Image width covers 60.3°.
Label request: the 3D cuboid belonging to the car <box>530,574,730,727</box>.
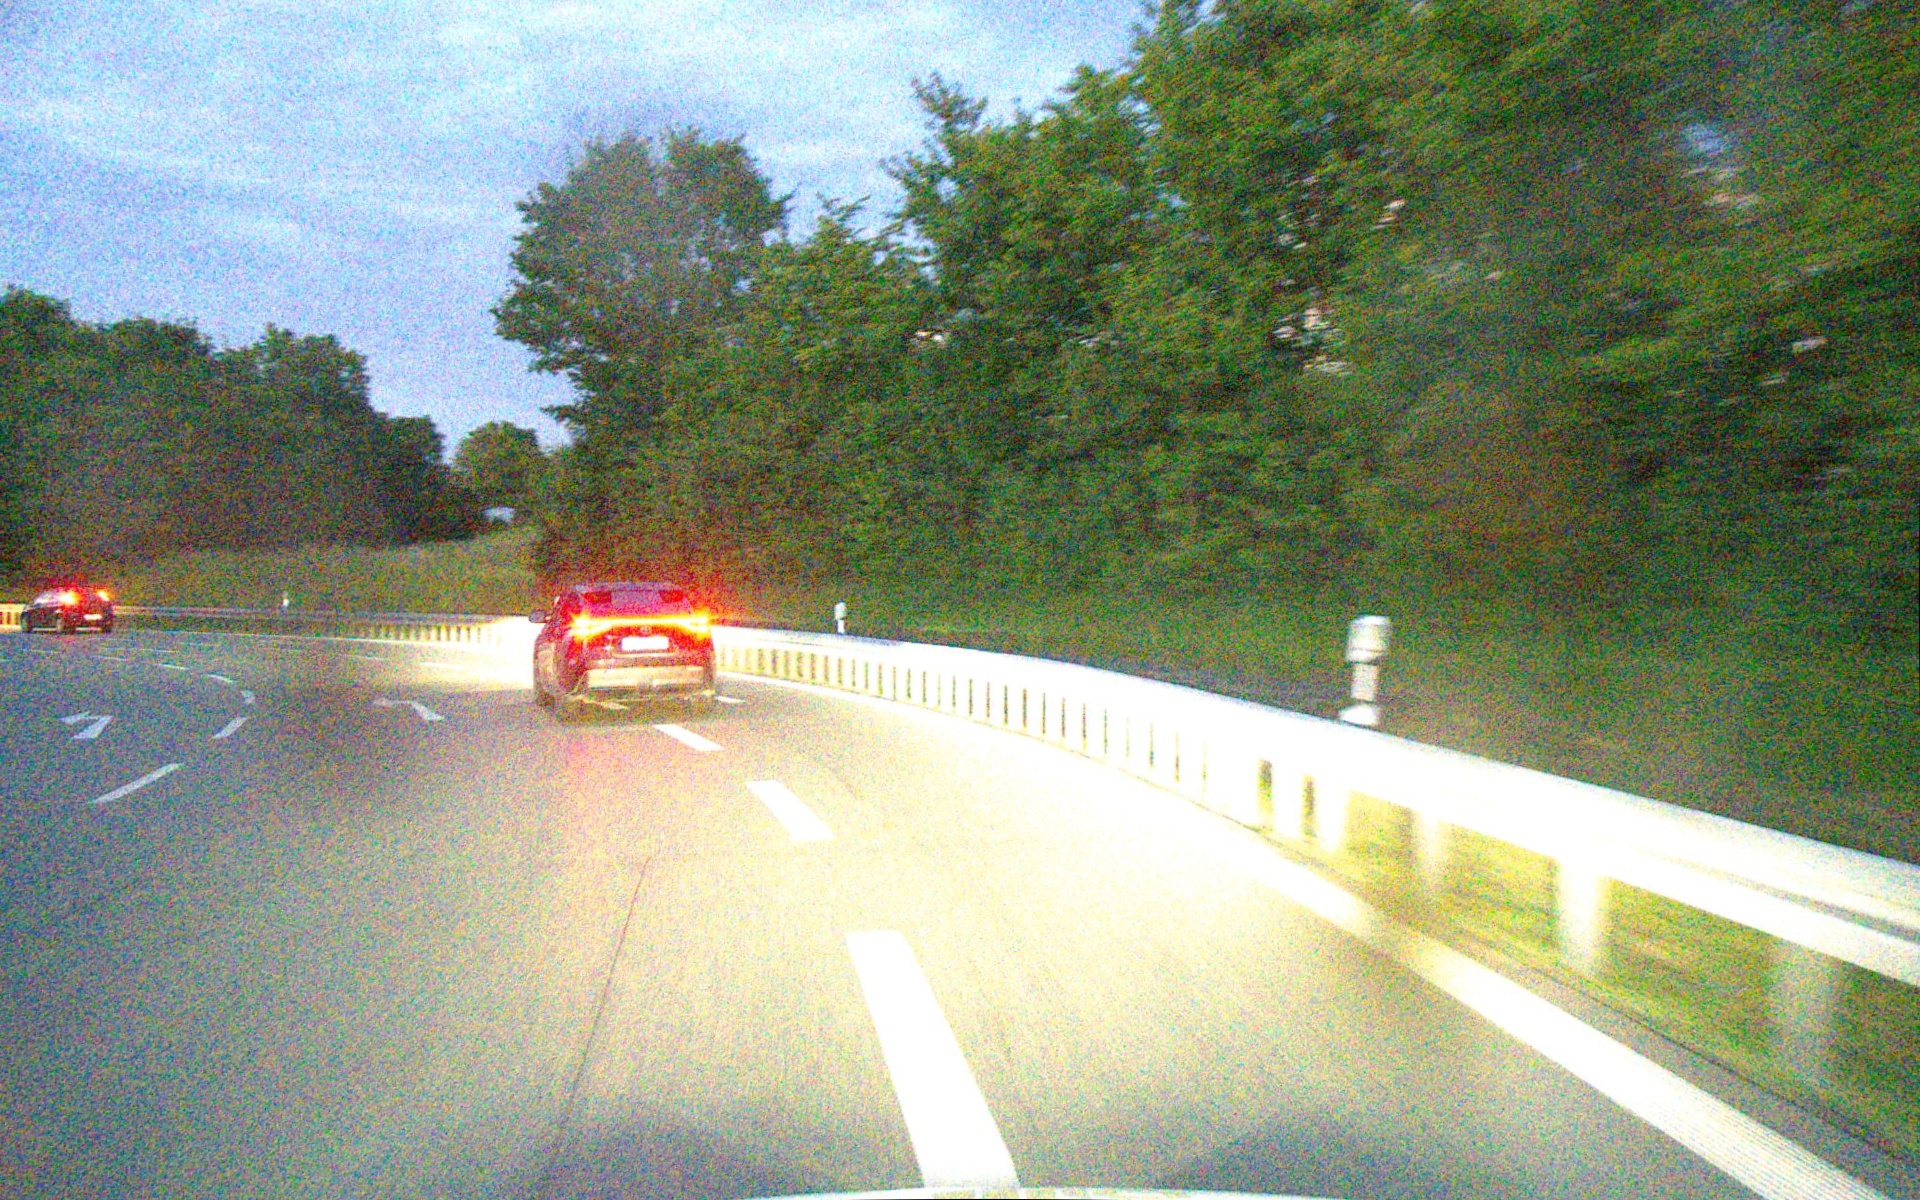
[{"bbox_3d":[-4.232,0.564,20.693,1.963,1.688,4.292,0,0,-18],"label":"car"}]

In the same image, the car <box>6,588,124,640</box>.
[{"bbox_3d":[-29.942,0.466,55.319,3.921,1.626,1.992,1,-1,37],"label":"car"}]
